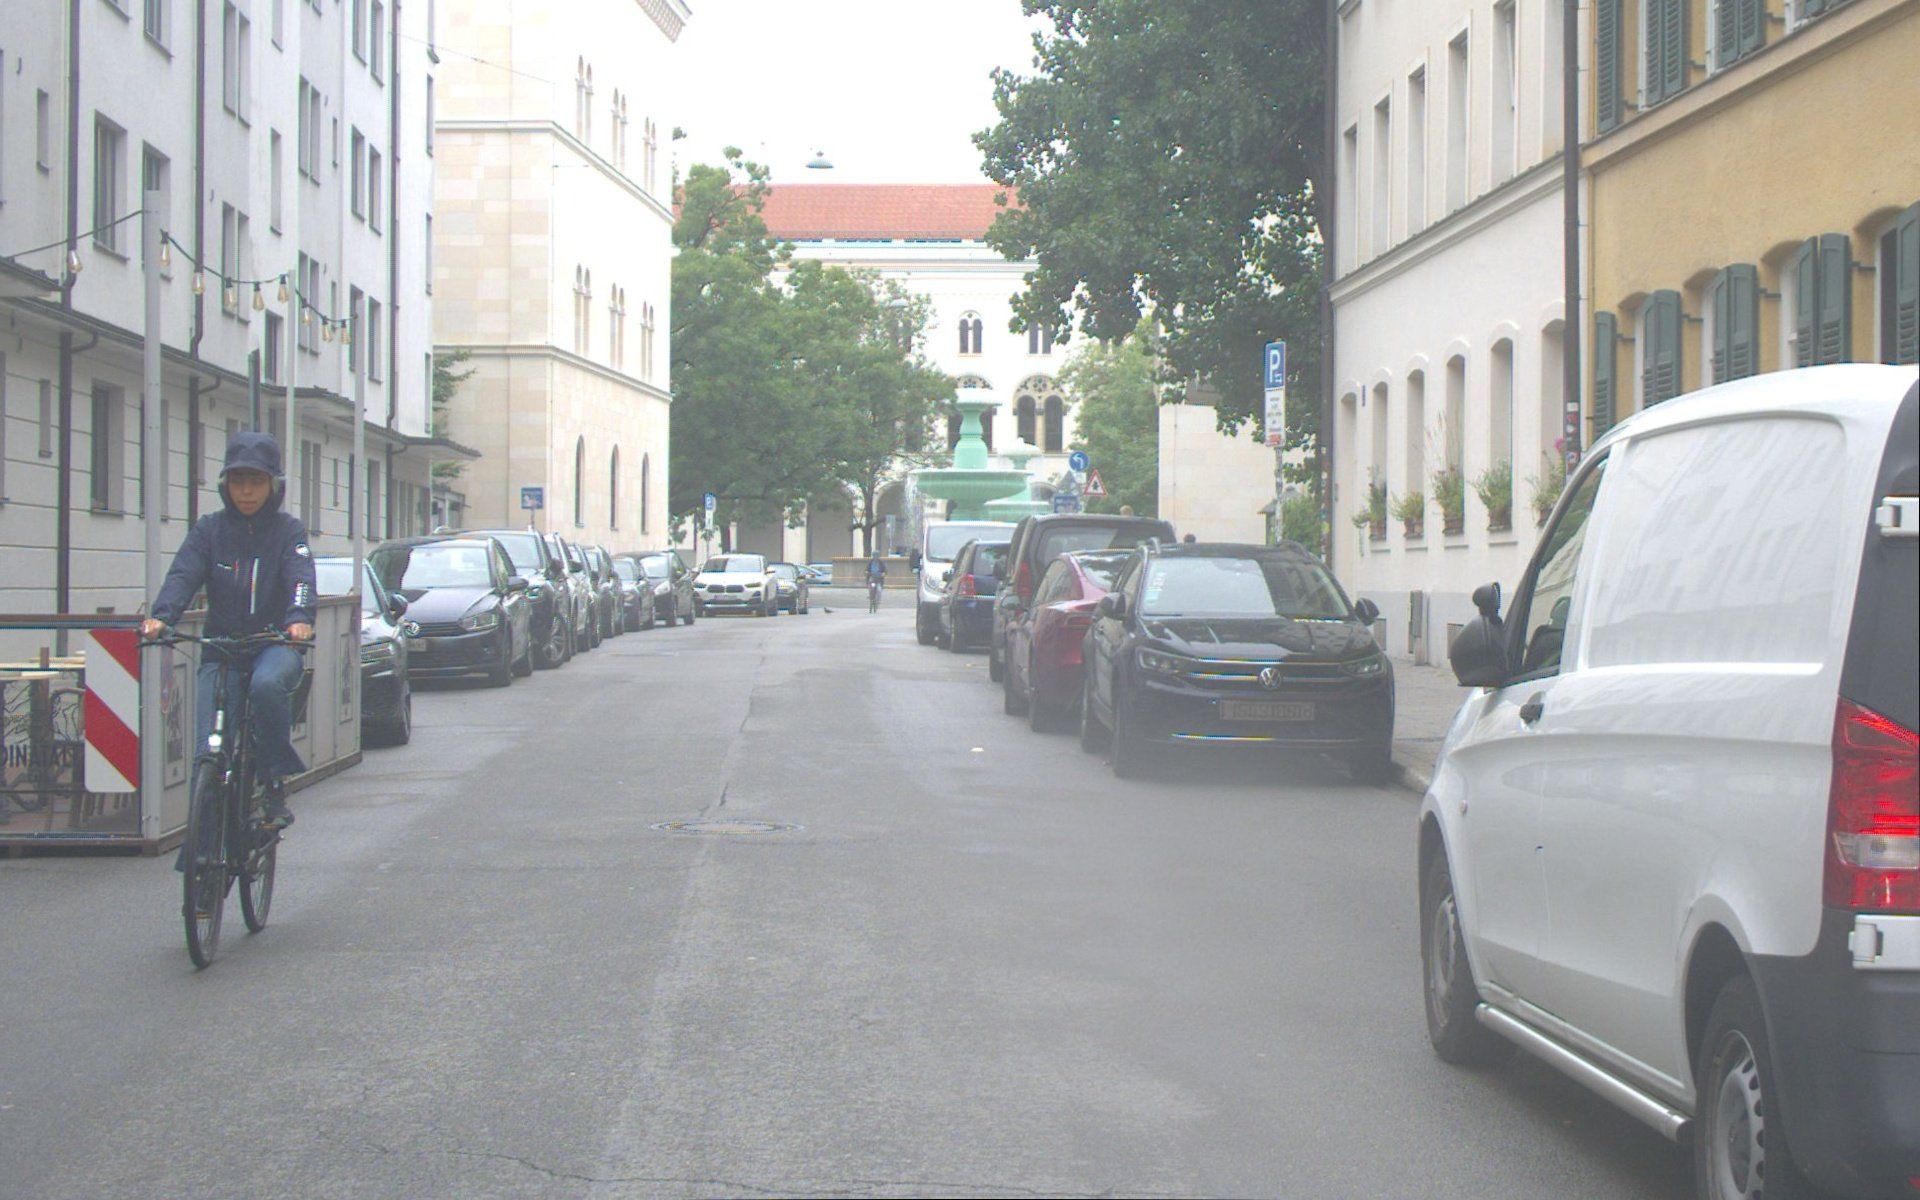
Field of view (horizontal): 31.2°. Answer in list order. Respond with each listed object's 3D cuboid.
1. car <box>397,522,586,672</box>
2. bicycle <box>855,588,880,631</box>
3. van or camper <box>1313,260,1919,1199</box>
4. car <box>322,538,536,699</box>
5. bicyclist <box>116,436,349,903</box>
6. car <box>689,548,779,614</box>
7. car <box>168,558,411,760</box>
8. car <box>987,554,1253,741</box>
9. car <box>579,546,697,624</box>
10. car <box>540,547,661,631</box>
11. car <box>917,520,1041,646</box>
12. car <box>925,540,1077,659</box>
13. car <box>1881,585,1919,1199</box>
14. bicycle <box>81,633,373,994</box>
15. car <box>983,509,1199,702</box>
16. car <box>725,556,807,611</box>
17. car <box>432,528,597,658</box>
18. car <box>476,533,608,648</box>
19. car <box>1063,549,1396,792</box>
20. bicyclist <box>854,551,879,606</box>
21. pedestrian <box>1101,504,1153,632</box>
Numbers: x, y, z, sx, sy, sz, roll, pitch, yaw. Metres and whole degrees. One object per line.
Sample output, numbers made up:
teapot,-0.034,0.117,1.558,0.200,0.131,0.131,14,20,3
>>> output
car,-5.651,-0.084,41.926,1.872,1.682,4.521,-1,1,-3
bicycle,-2.649,0.256,98.246,0.648,1.193,1.950,0,0,0
van or camper,2.289,0.376,8.510,1.993,2.007,5.234,0,1,-3
car,-5.510,0.141,36.092,1.773,1.534,4.160,-1,1,-3
bicyclist,-2.619,0.238,12.449,0.686,1.621,0.853,1,1,-4
car,-5.524,-0.452,84.415,1.778,1.529,4.211,-1,0,2
car,-5.058,0.387,26.328,1.638,1.349,4.060,-1,1,-9
car,1.236,0.335,28.402,1.713,1.419,4.458,0,1,-4
car,-6.443,-0.319,69.203,1.751,1.448,4.015,-1,1,3
car,-6.691,-0.225,64.372,1.750,1.448,4.015,-1,1,1
car,0.283,-0.301,55.198,1.882,1.918,4.875,0,1,0
car,0.544,-0.033,49.193,1.807,1.595,4.216,1,1,-4
car,2.575,0.773,3.347,1.815,1.504,4.588,0,1,-4
bicycle,-2.616,0.724,12.469,0.732,1.147,2.000,1,1,-3
car,1.274,0.037,35.099,1.846,1.770,4.201,2,0,-2
car,-5.099,-0.415,90.794,1.698,1.388,4.211,-1,0,3
car,-6.089,-0.143,47.410,1.872,1.652,4.591,-1,1,-3
car,-6.435,-0.190,53.306,1.872,1.652,4.591,-1,1,-5
car,1.706,0.401,22.956,1.745,1.459,4.001,0,1,-2
bicyclist,-2.671,-0.612,98.239,0.657,1.545,0.887,0,0,0
pedestrian,2.886,-0.560,59.602,0.793,2.190,0.814,1,1,-3
